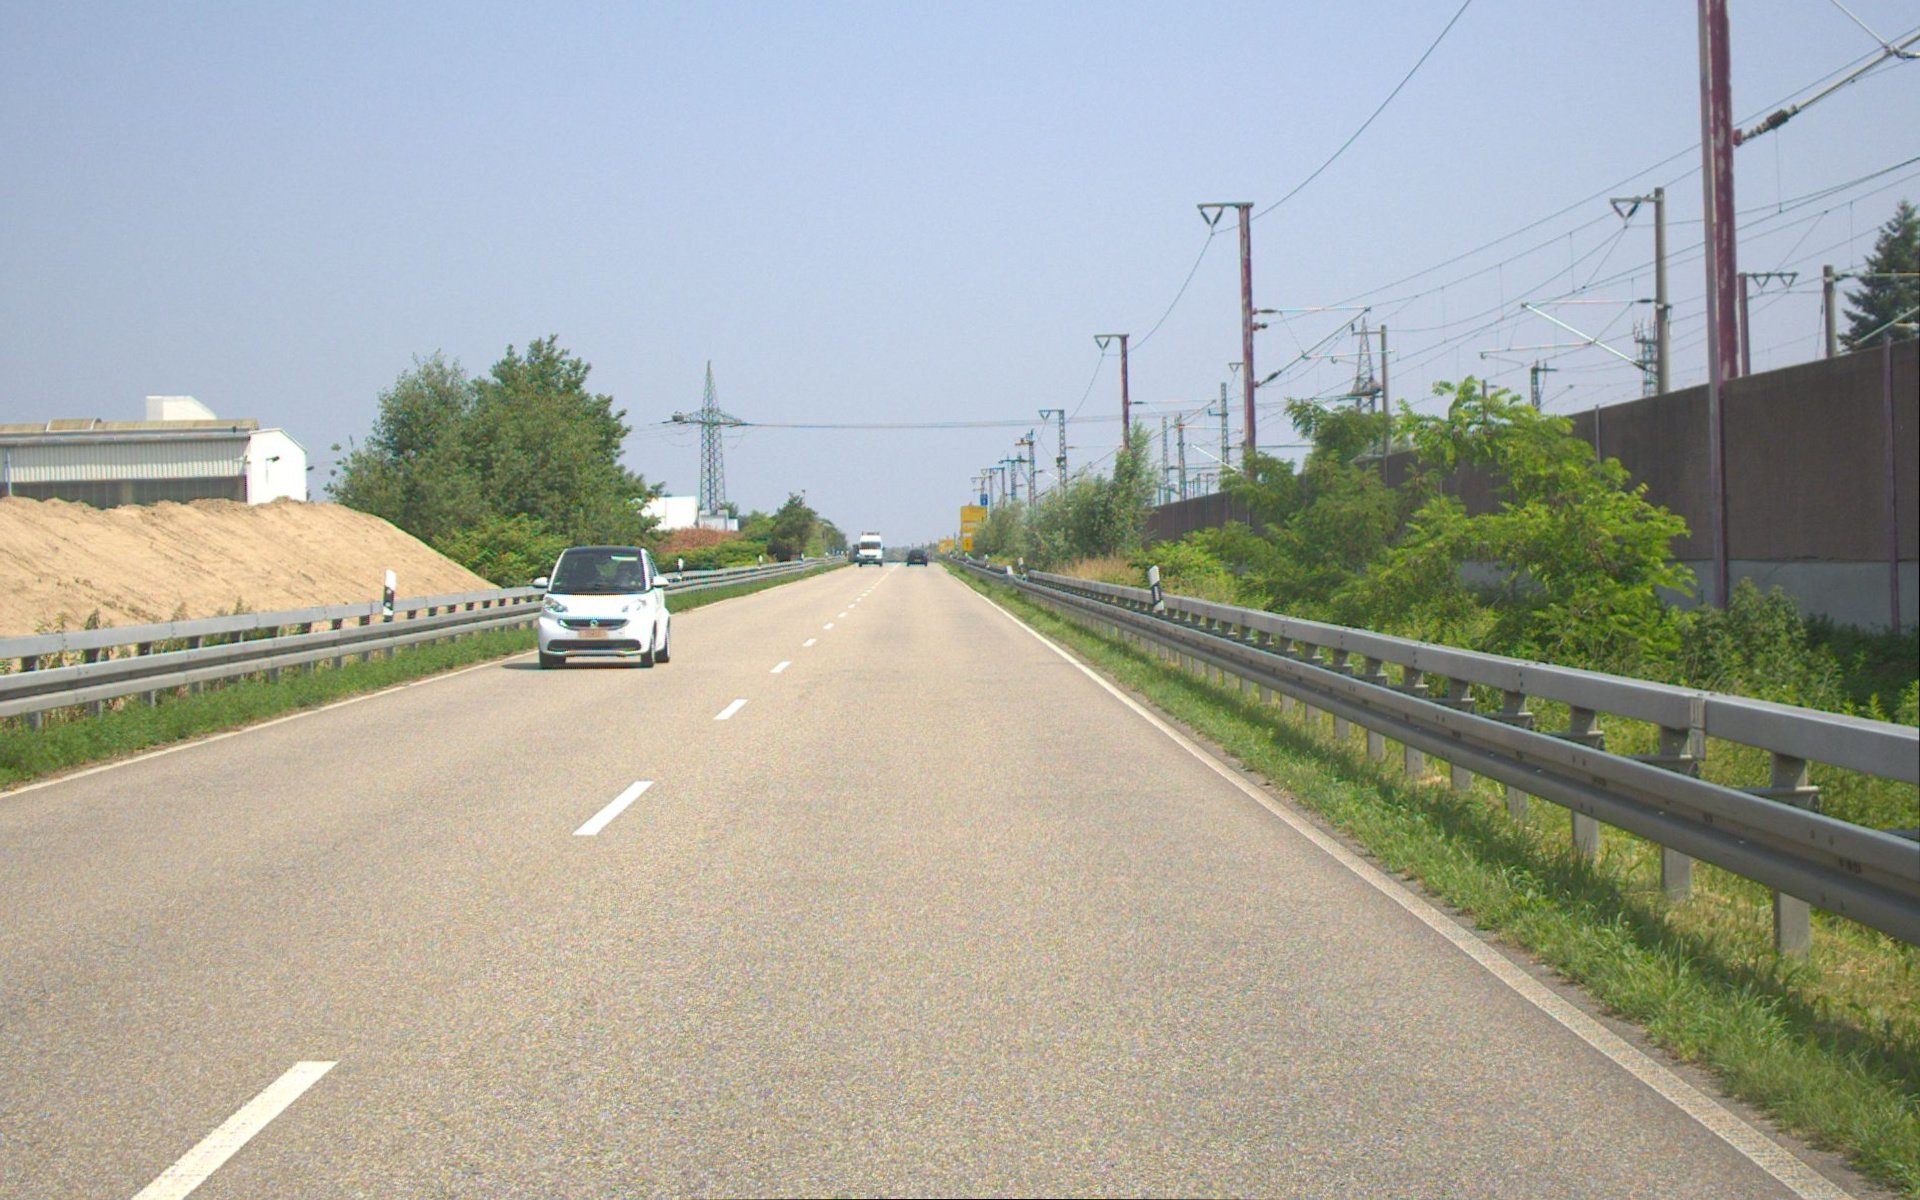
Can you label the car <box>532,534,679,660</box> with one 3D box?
[{"bbox_3d":[-4.603,-0.074,45.058,1.595,1.571,3.828,0,1,-1],"label":"car"}]
